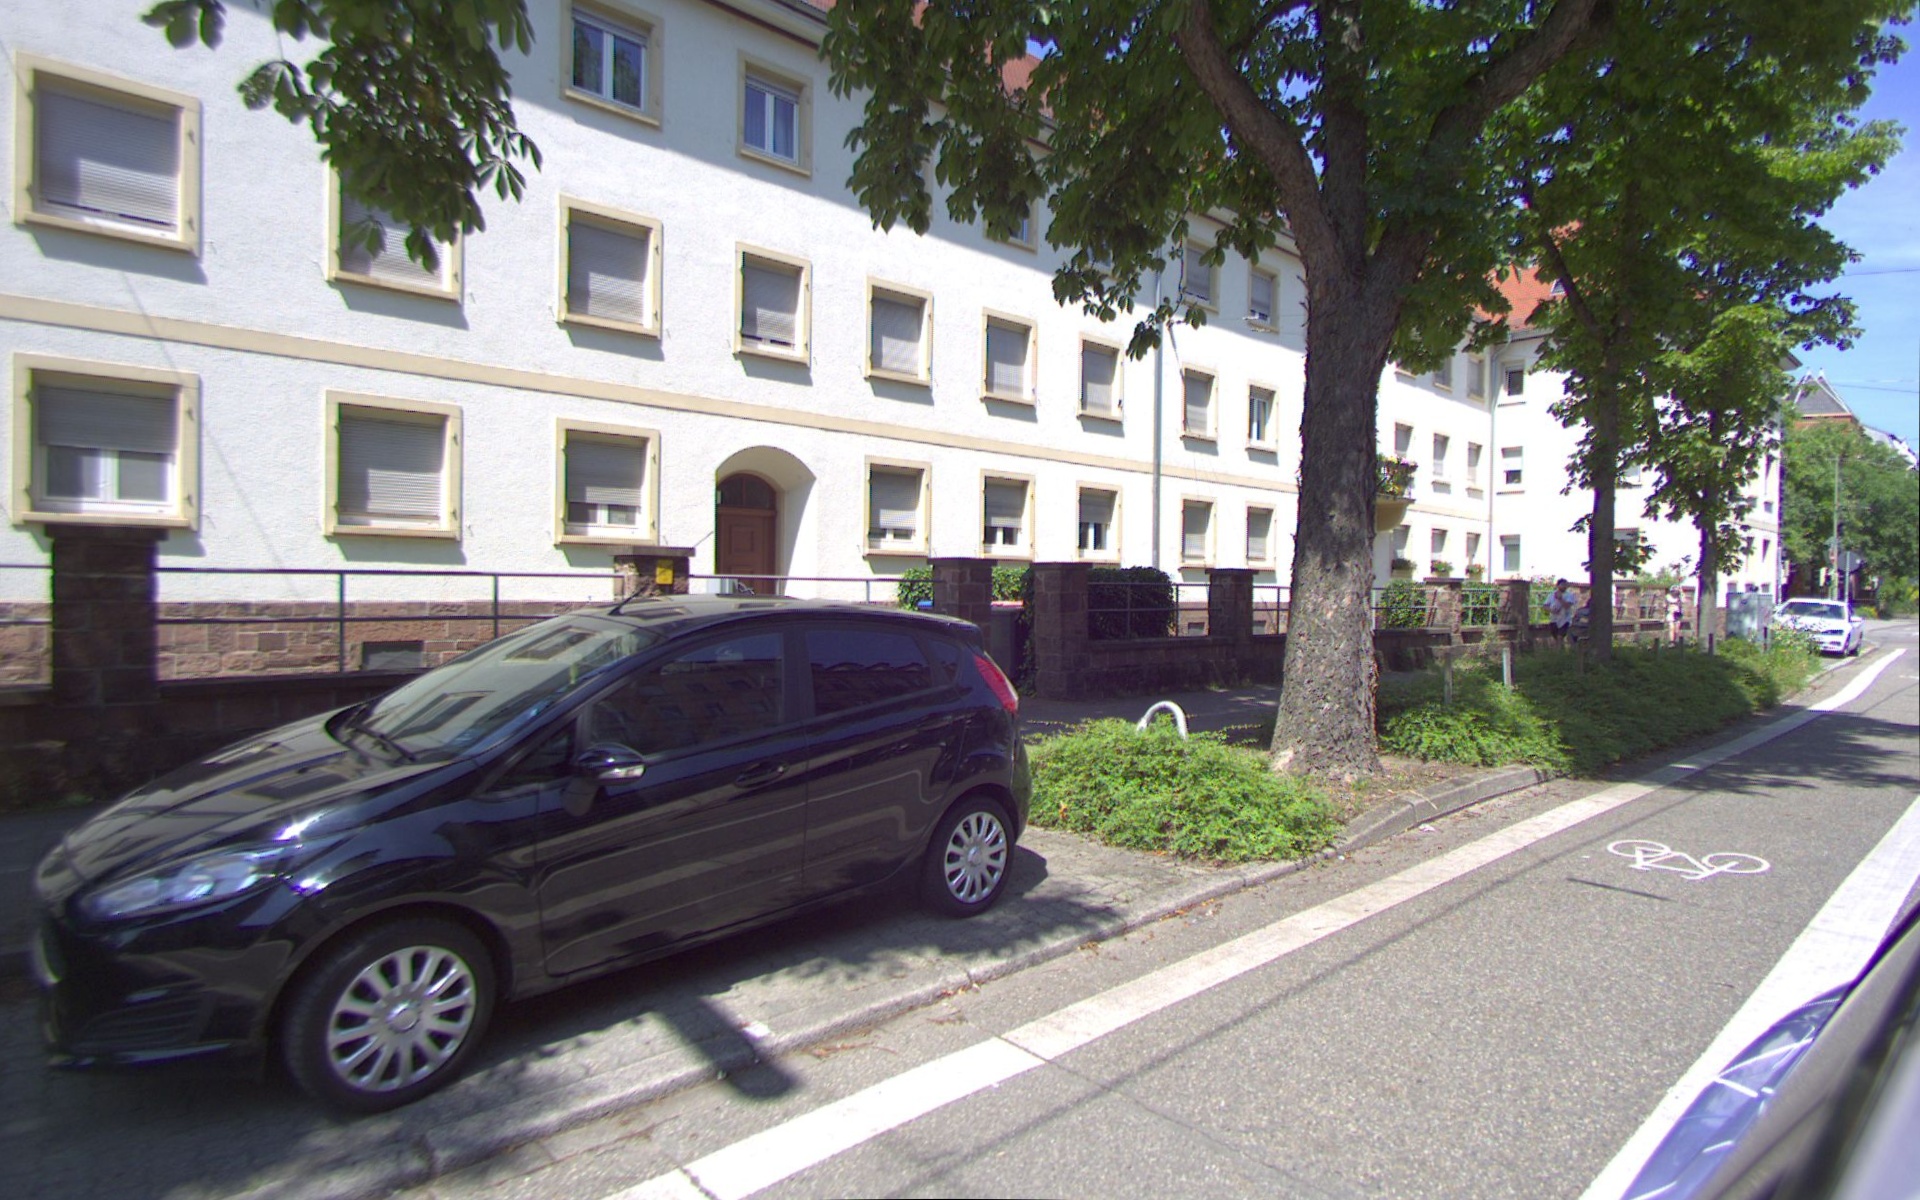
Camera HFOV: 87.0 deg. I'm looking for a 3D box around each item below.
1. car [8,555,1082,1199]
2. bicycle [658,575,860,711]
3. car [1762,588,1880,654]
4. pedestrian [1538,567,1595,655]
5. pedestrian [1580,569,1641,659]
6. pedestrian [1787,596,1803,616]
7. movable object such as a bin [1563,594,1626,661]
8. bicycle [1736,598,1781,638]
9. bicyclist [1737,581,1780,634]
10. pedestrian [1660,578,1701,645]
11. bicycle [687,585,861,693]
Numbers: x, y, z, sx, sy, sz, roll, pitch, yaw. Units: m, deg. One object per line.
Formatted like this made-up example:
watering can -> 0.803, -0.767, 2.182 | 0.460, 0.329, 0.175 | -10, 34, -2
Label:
car -> -1.376, 0.634, 4.340 | 3.934, 1.534, 1.658 | 0, 2, -44
bicycle -> -1.997, 0.397, 10.250 | 1.935, 1.224, 0.598 | 0, 4, -41
car -> 22.855, 0.504, 26.808 | 4.086, 1.427, 1.781 | 0, 6, -43
pedestrian -> 12.181, 0.211, 20.334 | 0.743, 1.689, 0.699 | 0, 4, -42
pedestrian -> 12.831, 0.266, 19.958 | 0.854, 1.689, 0.699 | 0, 4, -42
pedestrian -> 50.850, 0.360, 61.663 | 0.647, 1.164, 0.635 | 2, 1, 33
movable object such as a bin -> 12.129, 0.506, 19.333 | 1.019, 1.200, 0.699 | 0, 4, -42
bicycle -> 22.573, 0.501, 28.616 | 1.790, 1.064, 0.603 | 0, 2, -39
bicyclist -> 22.571, 0.199, 28.612 | 0.992, 1.470, 0.713 | 0, 1, -39
pedestrian -> 18.754, 0.288, 26.339 | 0.743, 1.690, 0.698 | 0, 1, -42
bicycle -> -2.165, 0.427, 11.945 | 1.935, 1.139, 0.598 | 0, 5, -40
